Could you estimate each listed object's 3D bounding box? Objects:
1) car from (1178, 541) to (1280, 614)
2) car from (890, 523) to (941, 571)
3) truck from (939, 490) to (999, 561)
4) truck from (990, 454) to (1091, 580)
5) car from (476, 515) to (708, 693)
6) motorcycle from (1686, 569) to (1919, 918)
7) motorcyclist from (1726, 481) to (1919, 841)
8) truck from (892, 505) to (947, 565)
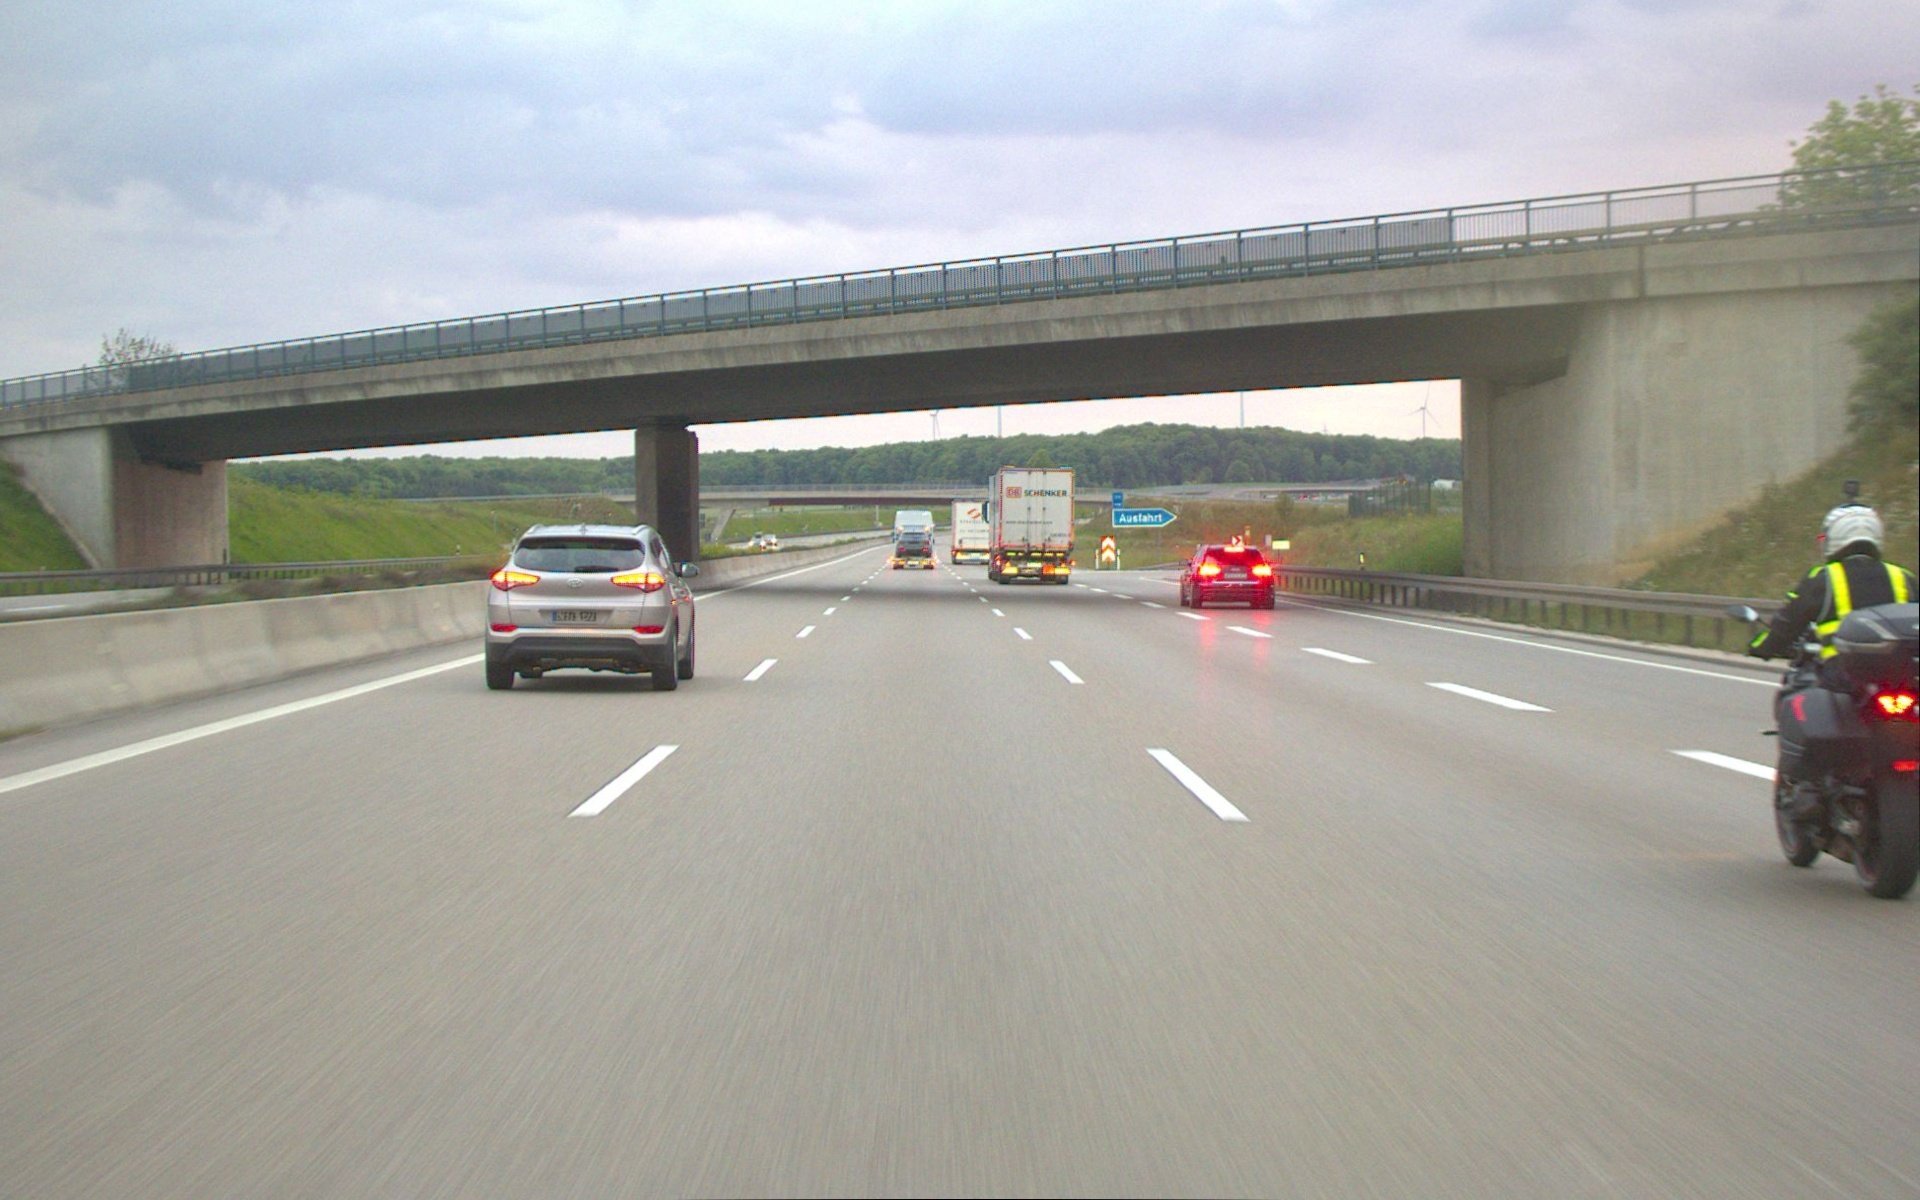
[{"bbox_3d":[6.071,-0.533,77.924,1.918,1.574,4.000,0,1,-1],"label":"car"},{"bbox_3d":[-2.279,-2.722,175.749,2.516,2.383,6.497,0,1,-1],"label":"car"},{"bbox_3d":[0.544,-4.709,216.613,3.525,4.330,8.407,1,2,-1],"label":"truck"},{"bbox_3d":[2.757,-2.953,121.366,3.234,4.213,9.599,1,2,0],"label":"truck"},{"bbox_3d":[-3.699,-0.019,35.445,1.852,1.687,5.512,0,1,-1],"label":"car"},{"bbox_3d":[3.872,0.568,14.994,0.902,1.342,2.349,0,2,0],"label":"motorcycle"},{"bbox_3d":[3.878,0.239,14.829,0.866,1.482,1.168,1,2,1],"label":"motorcyclist"},{"bbox_3d":[-2.280,-3.670,192.152,2.951,3.206,8.407,1,2,-1],"label":"truck"}]
